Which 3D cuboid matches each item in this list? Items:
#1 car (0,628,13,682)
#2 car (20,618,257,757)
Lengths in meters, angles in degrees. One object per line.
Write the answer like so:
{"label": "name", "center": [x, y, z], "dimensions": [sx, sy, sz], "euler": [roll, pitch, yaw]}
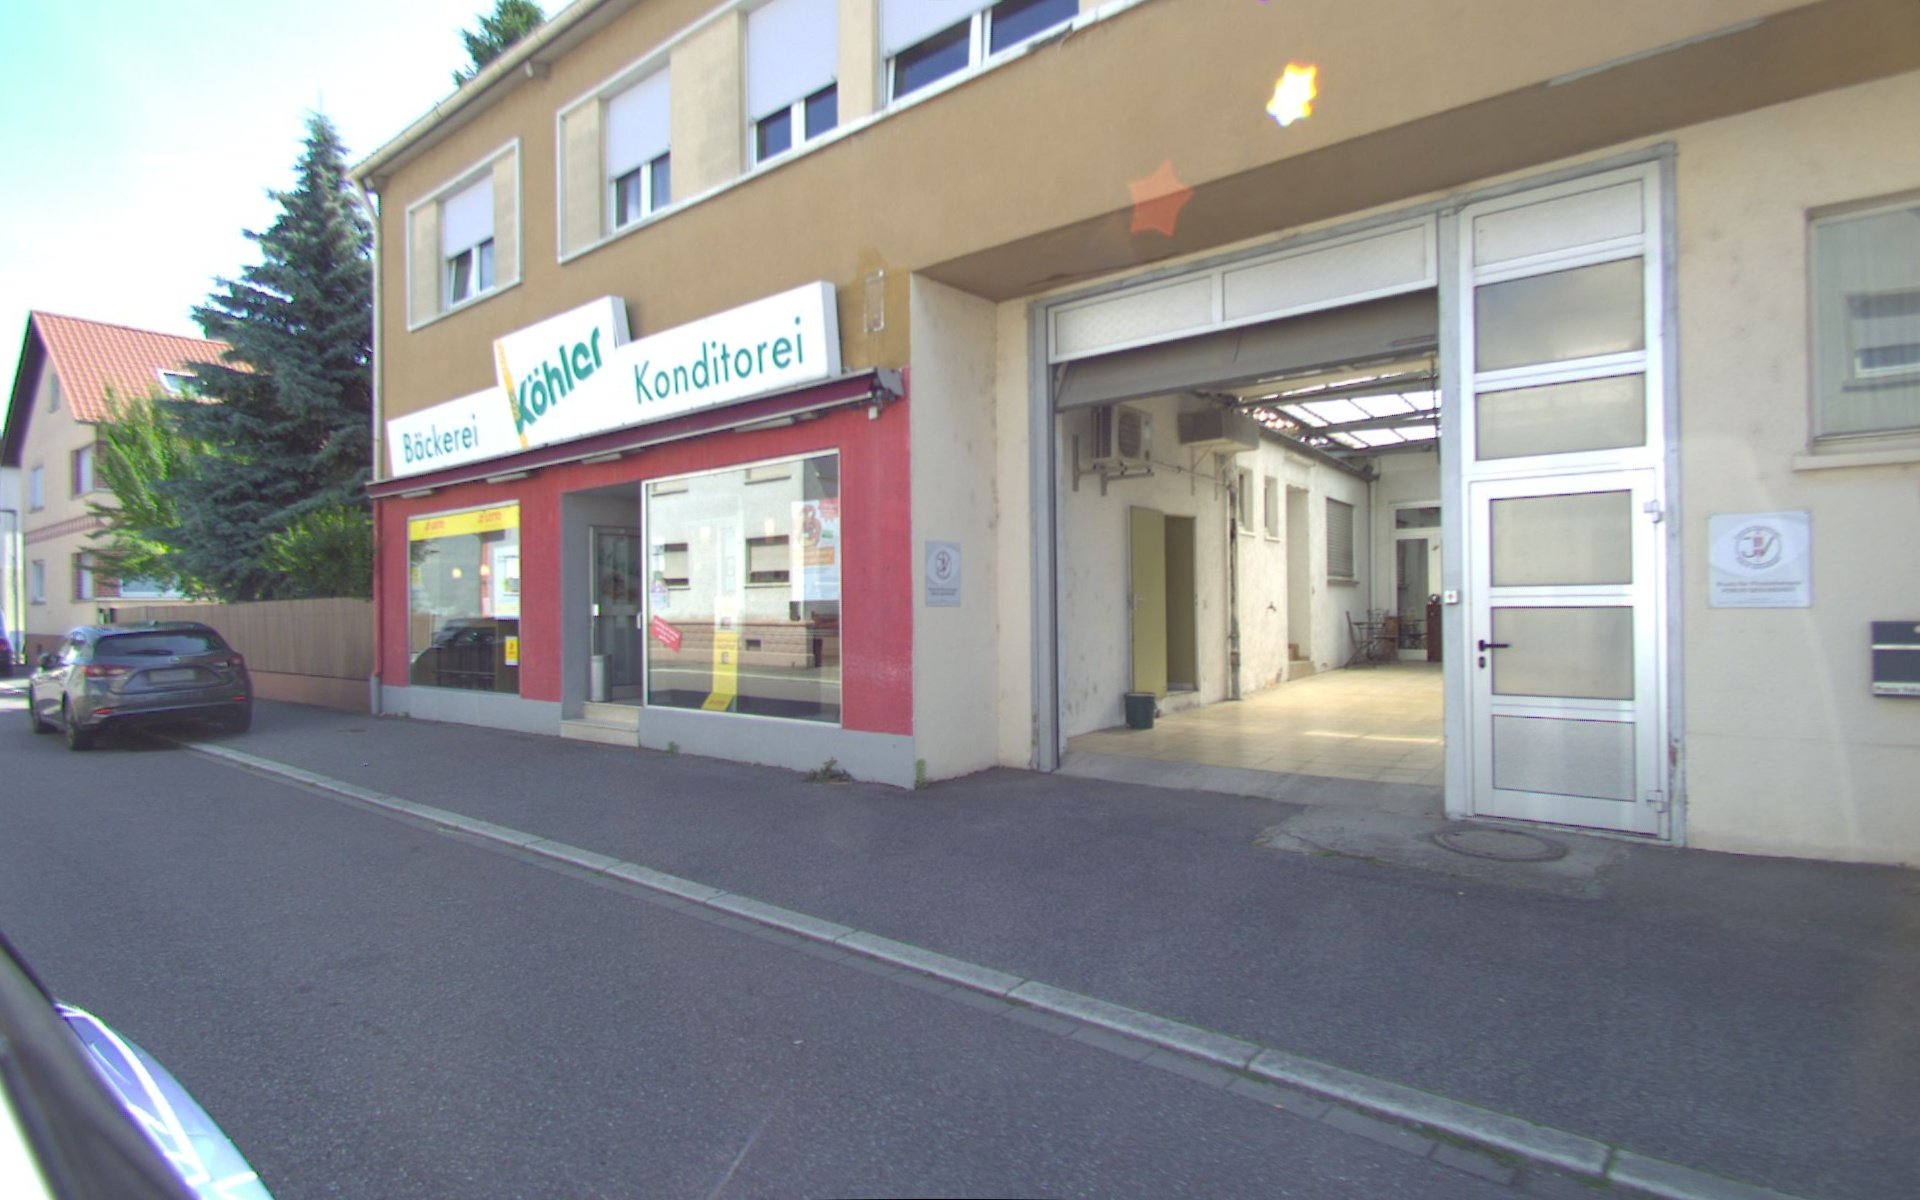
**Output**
{"label": "car", "center": [-26.604, 1.467, 26.802], "dimensions": [4.063, 1.384, 1.744], "euler": [-1, 0, 40]}
{"label": "car", "center": [-10.784, 1.006, 13.165], "dimensions": [4.435, 1.471, 1.749], "euler": [-2, -1, 42]}
